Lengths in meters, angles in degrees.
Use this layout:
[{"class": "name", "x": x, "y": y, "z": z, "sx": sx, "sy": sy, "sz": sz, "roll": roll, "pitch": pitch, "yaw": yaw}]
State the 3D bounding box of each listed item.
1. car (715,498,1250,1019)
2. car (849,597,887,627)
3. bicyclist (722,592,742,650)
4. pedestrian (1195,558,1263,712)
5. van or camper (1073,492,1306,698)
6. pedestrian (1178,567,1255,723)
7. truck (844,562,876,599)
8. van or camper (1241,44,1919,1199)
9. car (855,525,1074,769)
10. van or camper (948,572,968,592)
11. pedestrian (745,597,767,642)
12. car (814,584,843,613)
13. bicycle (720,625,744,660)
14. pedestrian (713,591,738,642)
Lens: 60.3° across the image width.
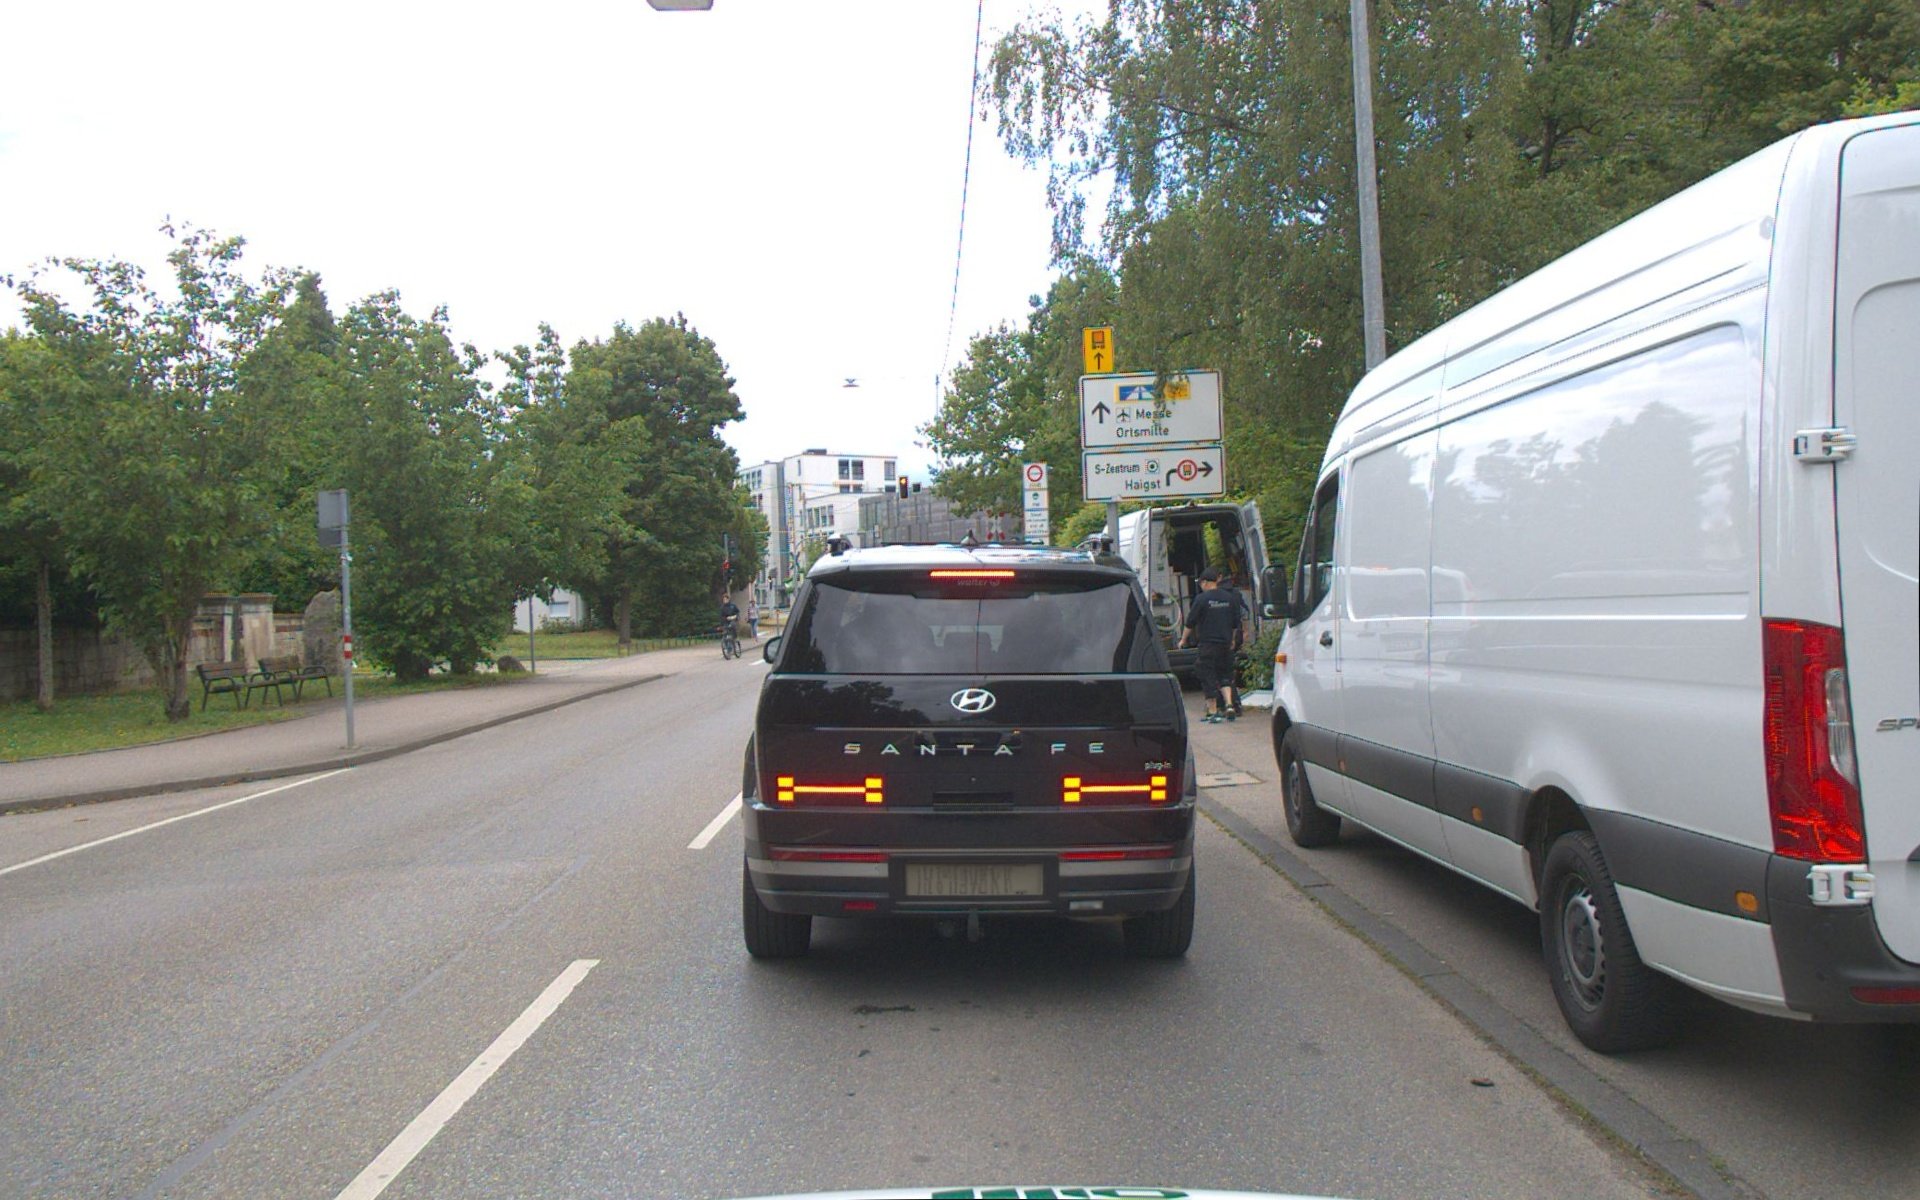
[{"class": "car", "x": 0.057, "y": 0.570, "z": 7.831, "sx": 1.858, "sy": 1.807, "sz": 3.993, "roll": 1, "pitch": 0, "yaw": -1}, {"class": "car", "x": -4.811, "y": 0.632, "z": 86.523, "sx": 1.721, "sy": 1.427, "sz": 4.413, "roll": -4, "pitch": 0, "yaw": -1}, {"class": "bicyclist", "x": -6.747, "y": 0.616, "z": 49.017, "sx": 0.477, "sy": 1.713, "sz": 0.588, "roll": 1, "pitch": -1, "yaw": -1}, {"class": "pedestrian", "x": 3.152, "y": 0.404, "z": 19.436, "sx": 0.734, "sy": 1.751, "sz": 0.792, "roll": 1, "pitch": -1, "yaw": 7}, {"class": "van or camper", "x": 3.278, "y": -0.023, "z": 25.295, "sx": 2.294, "sy": 2.537, "sz": 6.600, "roll": -5, "pitch": -1, "yaw": -2}, {"class": "pedestrian", "x": 2.857, "y": 0.501, "z": 18.511, "sx": 0.721, "sy": 1.672, "sz": 0.802, "roll": -3, "pitch": -1, "yaw": 5}, {"class": "truck", "x": -11.364, "y": -2.145, "z": 187.015, "sx": 3.048, "sy": 3.926, "sz": 9.607, "roll": -2, "pitch": 0, "yaw": -7}, {"class": "van or camper", "x": 2.864, "y": 0.034, "z": 7.014, "sx": 1.951, "sy": 2.670, "sz": 6.543, "roll": -4, "pitch": 0, "yaw": -1}, {"class": "car", "x": 0.015, "y": 0.412, "z": 16.308, "sx": 1.858, "sy": 2.077, "sz": 3.993, "roll": 1, "pitch": 0, "yaw": -1}, {"class": "van or camper", "x": -0.183, "y": -1.894, "z": 172.483, "sx": 1.760, "sy": 2.033, "sz": 3.820, "roll": 1, "pitch": 0, "yaw": -4}, {"class": "pedestrian", "x": -8.218, "y": 0.771, "z": 66.603, "sx": 0.751, "sy": 1.779, "sz": 0.904, "roll": 0, "pitch": 0, "yaw": -1}, {"class": "car", "x": -11.486, "y": -0.115, "z": 143.995, "sx": 2.288, "sy": 2.356, "sz": 4.950, "roll": -2, "pitch": 0, "yaw": -7}, {"class": "bicycle", "x": -6.755, "y": 1.246, "z": 49.083, "sx": 0.485, "sy": 0.981, "sz": 1.748, "roll": 1, "pitch": 0, "yaw": -1}, {"class": "pedestrian", "x": -9.388, "y": 0.658, "z": 66.223, "sx": 0.812, "sy": 2.049, "sz": 1.047, "roll": 1, "pitch": -1, "yaw": 1}]
